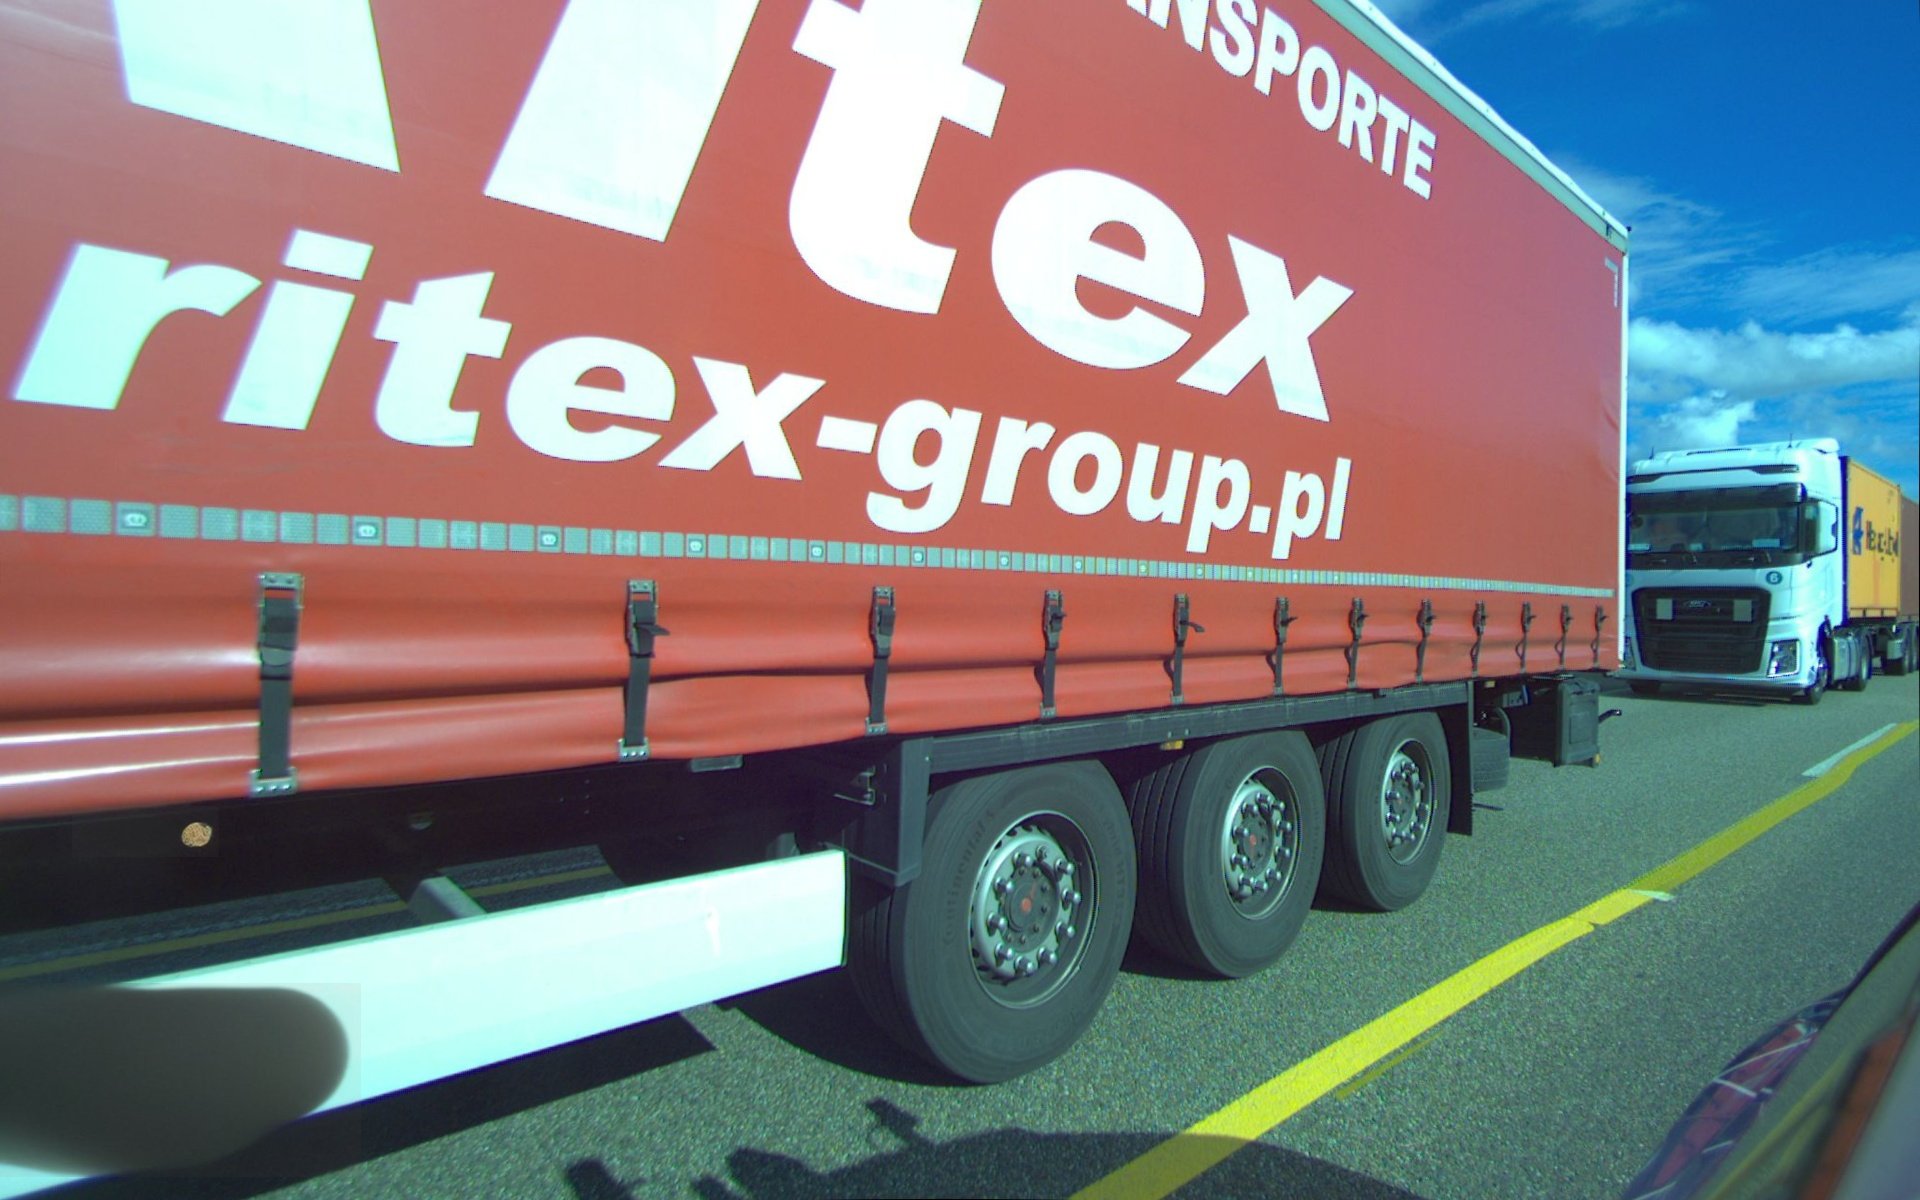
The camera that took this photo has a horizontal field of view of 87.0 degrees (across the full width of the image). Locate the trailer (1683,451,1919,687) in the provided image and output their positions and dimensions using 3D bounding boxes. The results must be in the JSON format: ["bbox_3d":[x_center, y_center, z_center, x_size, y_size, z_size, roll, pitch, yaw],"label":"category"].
[{"bbox_3d":[18.401,-0.518,21.207,11.921,3.823,2.476,0,0,-41],"label":"trailer"}]

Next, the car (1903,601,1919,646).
[{"bbox_3d":[31.142,0.718,31.651,4.398,1.367,1.932,0,0,-41],"label":"car"}]

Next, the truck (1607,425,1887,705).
[{"bbox_3d":[13.054,-0.496,16.633,5.687,3.828,2.500,0,0,-40],"label":"truck"}]

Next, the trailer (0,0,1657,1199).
[{"bbox_3d":[-1.135,-0.629,3.436,13.185,4.019,2.704,0,0,-42],"label":"trailer"}]
